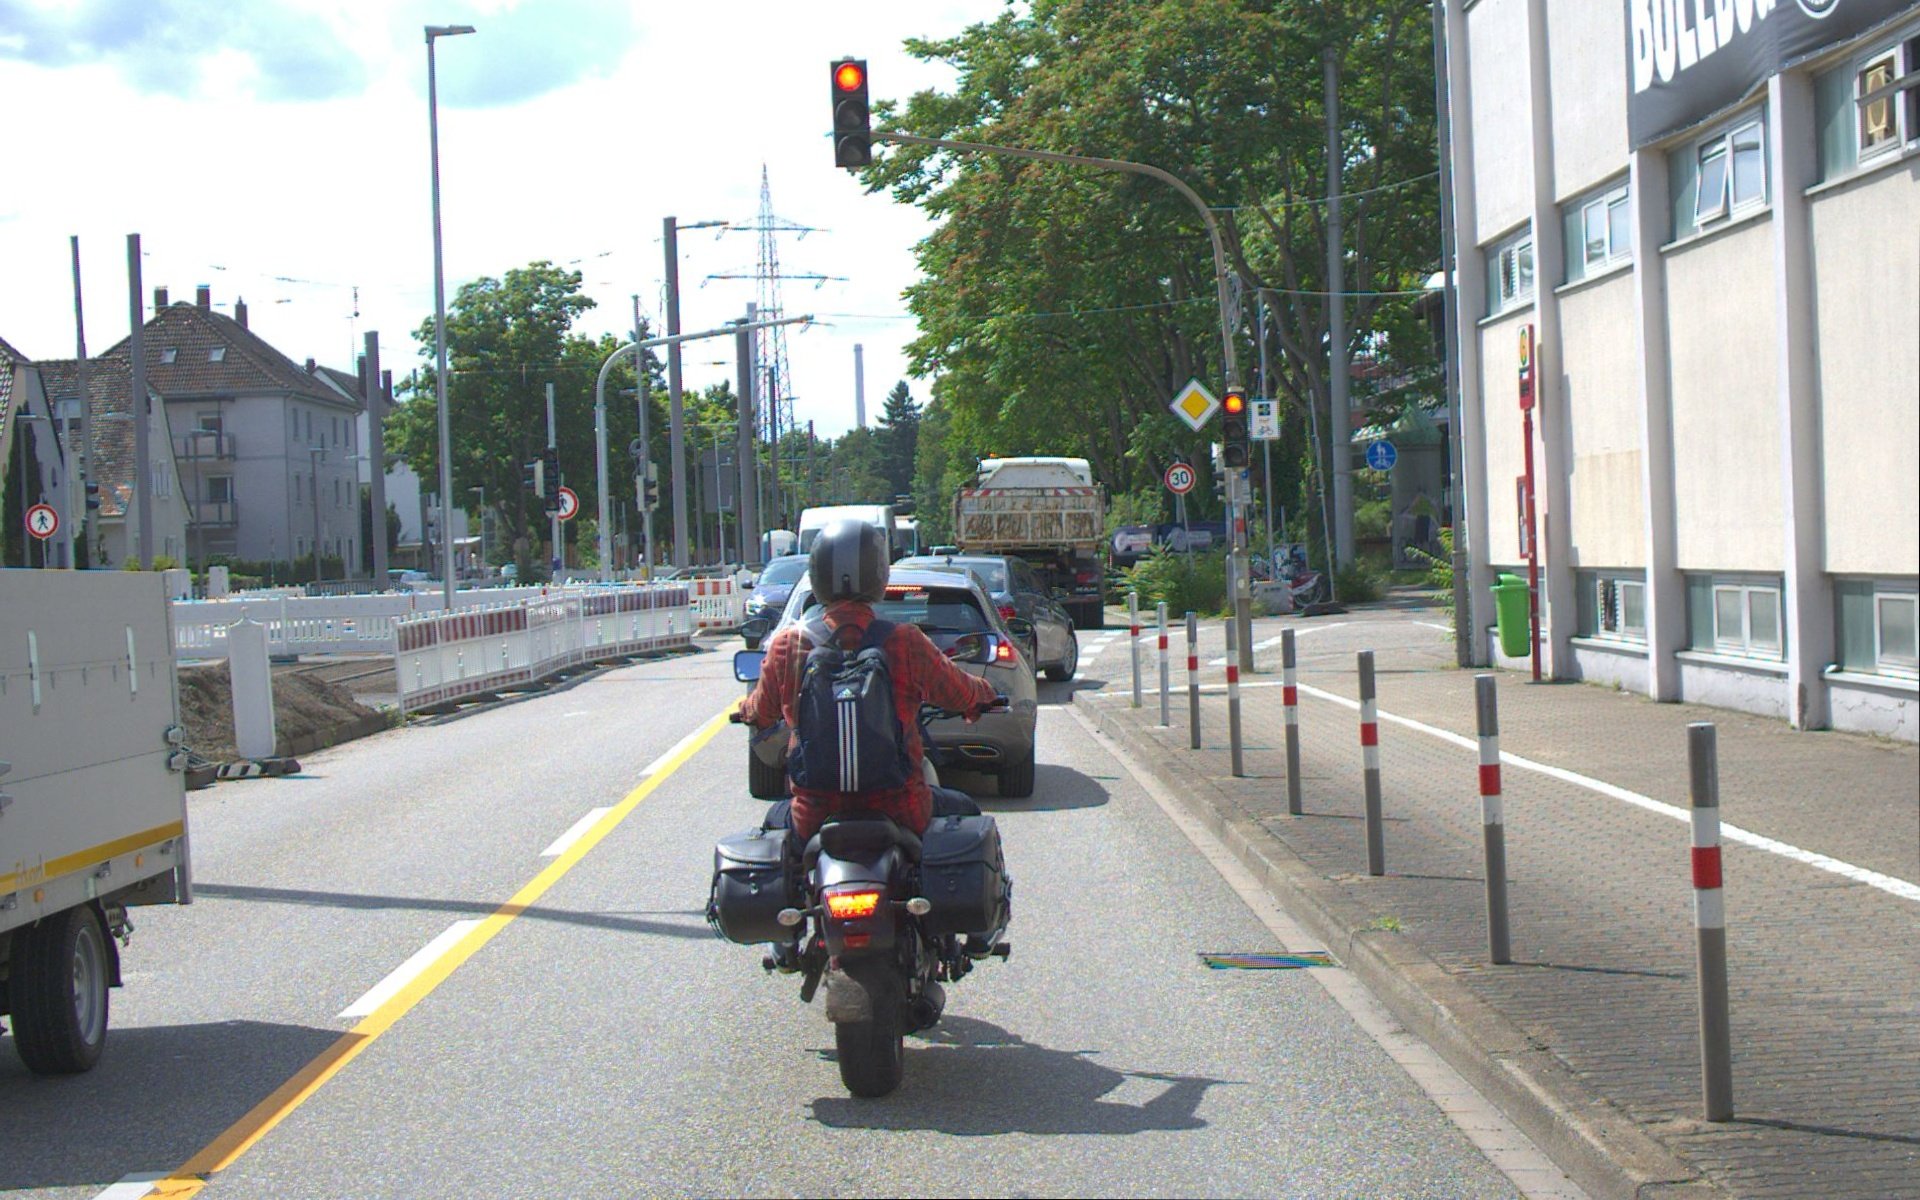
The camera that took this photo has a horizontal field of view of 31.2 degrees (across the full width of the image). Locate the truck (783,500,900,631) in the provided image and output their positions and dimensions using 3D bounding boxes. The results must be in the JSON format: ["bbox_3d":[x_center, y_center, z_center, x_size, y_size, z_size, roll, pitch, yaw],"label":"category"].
[{"bbox_3d":[-2.454,-0.772,72.491,2.093,2.468,5.196,-4,2,0],"label":"truck"}]

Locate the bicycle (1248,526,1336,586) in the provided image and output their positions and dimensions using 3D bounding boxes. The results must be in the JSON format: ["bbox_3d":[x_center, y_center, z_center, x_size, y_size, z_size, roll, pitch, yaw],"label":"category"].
[{"bbox_3d":[6.511,-0.860,67.431,1.708,1.168,0.438,0,0,5],"label":"bicycle"}]

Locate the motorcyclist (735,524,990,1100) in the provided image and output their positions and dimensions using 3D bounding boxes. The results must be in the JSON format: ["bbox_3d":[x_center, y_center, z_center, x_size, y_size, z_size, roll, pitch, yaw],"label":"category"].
[{"bbox_3d":[-0.273,0.588,9.905,0.698,1.599,0.692,0,0,0],"label":"motorcyclist"}]

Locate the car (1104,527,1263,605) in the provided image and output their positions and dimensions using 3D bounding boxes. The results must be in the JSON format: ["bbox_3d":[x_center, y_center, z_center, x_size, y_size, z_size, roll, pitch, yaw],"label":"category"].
[{"bbox_3d":[5.626,-0.857,86.262,3.989,1.919,1.802,-1,1,-45],"label":"car"}]

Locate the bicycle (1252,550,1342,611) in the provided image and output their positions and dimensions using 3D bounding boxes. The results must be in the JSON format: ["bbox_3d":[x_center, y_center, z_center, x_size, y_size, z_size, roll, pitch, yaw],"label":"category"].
[{"bbox_3d":[6.487,-0.371,66.237,1.708,1.168,0.438,0,0,5],"label":"bicycle"}]

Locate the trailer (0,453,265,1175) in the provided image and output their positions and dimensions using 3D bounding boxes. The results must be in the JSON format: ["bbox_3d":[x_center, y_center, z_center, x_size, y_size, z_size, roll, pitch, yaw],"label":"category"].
[{"bbox_3d":[-3.507,0.597,9.339,2.062,1.829,5.485,-4,0,-1],"label":"trailer"}]

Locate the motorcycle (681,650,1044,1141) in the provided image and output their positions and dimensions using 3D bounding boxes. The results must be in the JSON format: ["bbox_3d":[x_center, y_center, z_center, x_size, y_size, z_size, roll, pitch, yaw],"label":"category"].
[{"bbox_3d":[-0.262,0.792,10.233,0.942,1.196,2.472,0,1,0],"label":"motorcycle"}]

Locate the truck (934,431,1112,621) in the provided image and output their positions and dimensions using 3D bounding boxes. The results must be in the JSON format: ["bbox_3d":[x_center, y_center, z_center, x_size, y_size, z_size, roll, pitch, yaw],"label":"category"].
[{"bbox_3d":[1.203,-1.264,61.325,2.967,3.162,7.763,0,0,2],"label":"truck"}]

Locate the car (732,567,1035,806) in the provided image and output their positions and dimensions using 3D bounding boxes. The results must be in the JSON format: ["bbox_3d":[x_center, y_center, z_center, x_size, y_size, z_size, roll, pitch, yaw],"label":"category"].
[{"bbox_3d":[-0.589,0.497,22.584,1.731,1.399,4.087,0,1,-5],"label":"car"}]

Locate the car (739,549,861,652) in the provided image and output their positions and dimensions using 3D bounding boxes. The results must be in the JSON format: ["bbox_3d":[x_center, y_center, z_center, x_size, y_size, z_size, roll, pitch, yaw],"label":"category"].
[{"bbox_3d":[-2.518,-0.016,55.004,1.645,1.493,4.269,-2,1,1],"label":"car"}]

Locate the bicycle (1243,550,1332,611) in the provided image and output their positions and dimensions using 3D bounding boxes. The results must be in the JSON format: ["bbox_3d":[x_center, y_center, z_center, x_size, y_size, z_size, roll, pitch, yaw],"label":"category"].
[{"bbox_3d":[6.369,-0.373,66.834,1.708,1.168,0.438,0,0,5],"label":"bicycle"}]

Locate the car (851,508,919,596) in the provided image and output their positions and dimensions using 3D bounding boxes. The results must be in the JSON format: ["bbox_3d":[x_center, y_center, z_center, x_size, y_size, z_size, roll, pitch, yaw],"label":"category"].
[{"bbox_3d":[-1.842,-1.182,85.263,1.589,2.135,3.627,0,0,0],"label":"car"}]

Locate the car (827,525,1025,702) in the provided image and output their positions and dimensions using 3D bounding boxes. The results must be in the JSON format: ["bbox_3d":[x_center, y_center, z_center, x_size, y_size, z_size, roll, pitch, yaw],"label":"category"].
[{"bbox_3d":[-0.311,0.096,38.584,1.901,1.706,4.719,-2,2,3],"label":"car"}]
